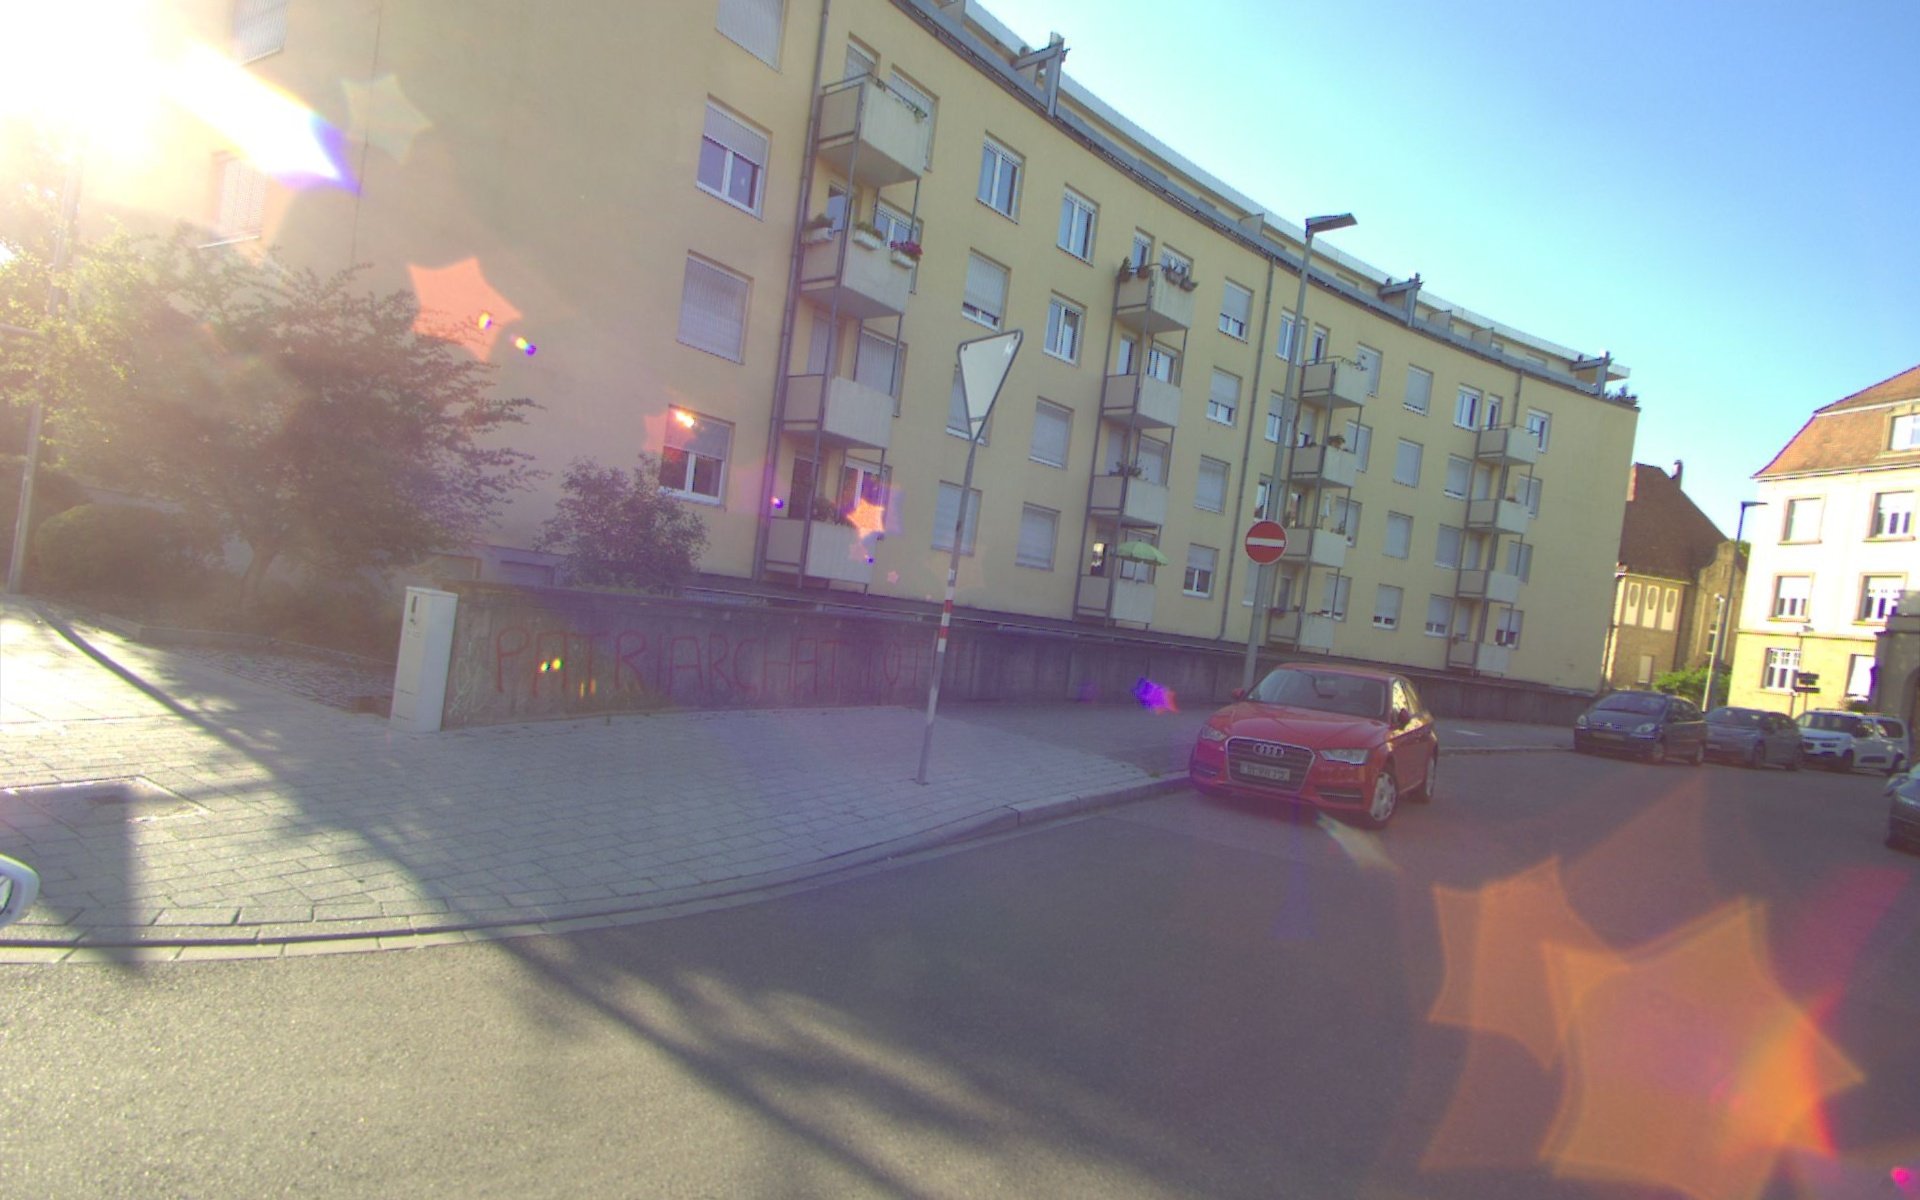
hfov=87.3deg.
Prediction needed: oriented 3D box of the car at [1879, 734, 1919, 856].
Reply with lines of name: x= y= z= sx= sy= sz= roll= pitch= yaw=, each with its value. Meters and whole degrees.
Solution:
car: x=13.705 y=2.733 z=13.400 sx=3.976 sy=1.445 sz=1.705 roll=9 pitch=1 yaw=-43

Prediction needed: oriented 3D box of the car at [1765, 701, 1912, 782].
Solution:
car: x=26.337 y=4.248 z=30.163 sx=3.997 sy=1.817 sz=1.696 roll=9 pitch=0 yaw=-25

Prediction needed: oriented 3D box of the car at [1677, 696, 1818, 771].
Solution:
car: x=21.101 y=3.598 z=26.925 sx=4.008 sy=1.595 sz=1.692 roll=8 pitch=-1 yaw=-33

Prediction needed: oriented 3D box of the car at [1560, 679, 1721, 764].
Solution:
car: x=16.033 y=2.874 z=23.660 sx=4.009 sy=1.595 sz=1.692 roll=8 pitch=-1 yaw=-34

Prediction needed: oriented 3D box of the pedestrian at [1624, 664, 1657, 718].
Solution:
pedestrian: x=21.388 y=2.867 z=31.635 sx=0.521 sy=1.611 sz=0.502 roll=8 pitch=0 yaw=-31

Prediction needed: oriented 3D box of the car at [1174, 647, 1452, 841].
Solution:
car: x=3.868 y=1.401 z=10.546 sx=1.761 sy=1.436 sz=4.039 roll=5 pitch=-2 yaw=33
